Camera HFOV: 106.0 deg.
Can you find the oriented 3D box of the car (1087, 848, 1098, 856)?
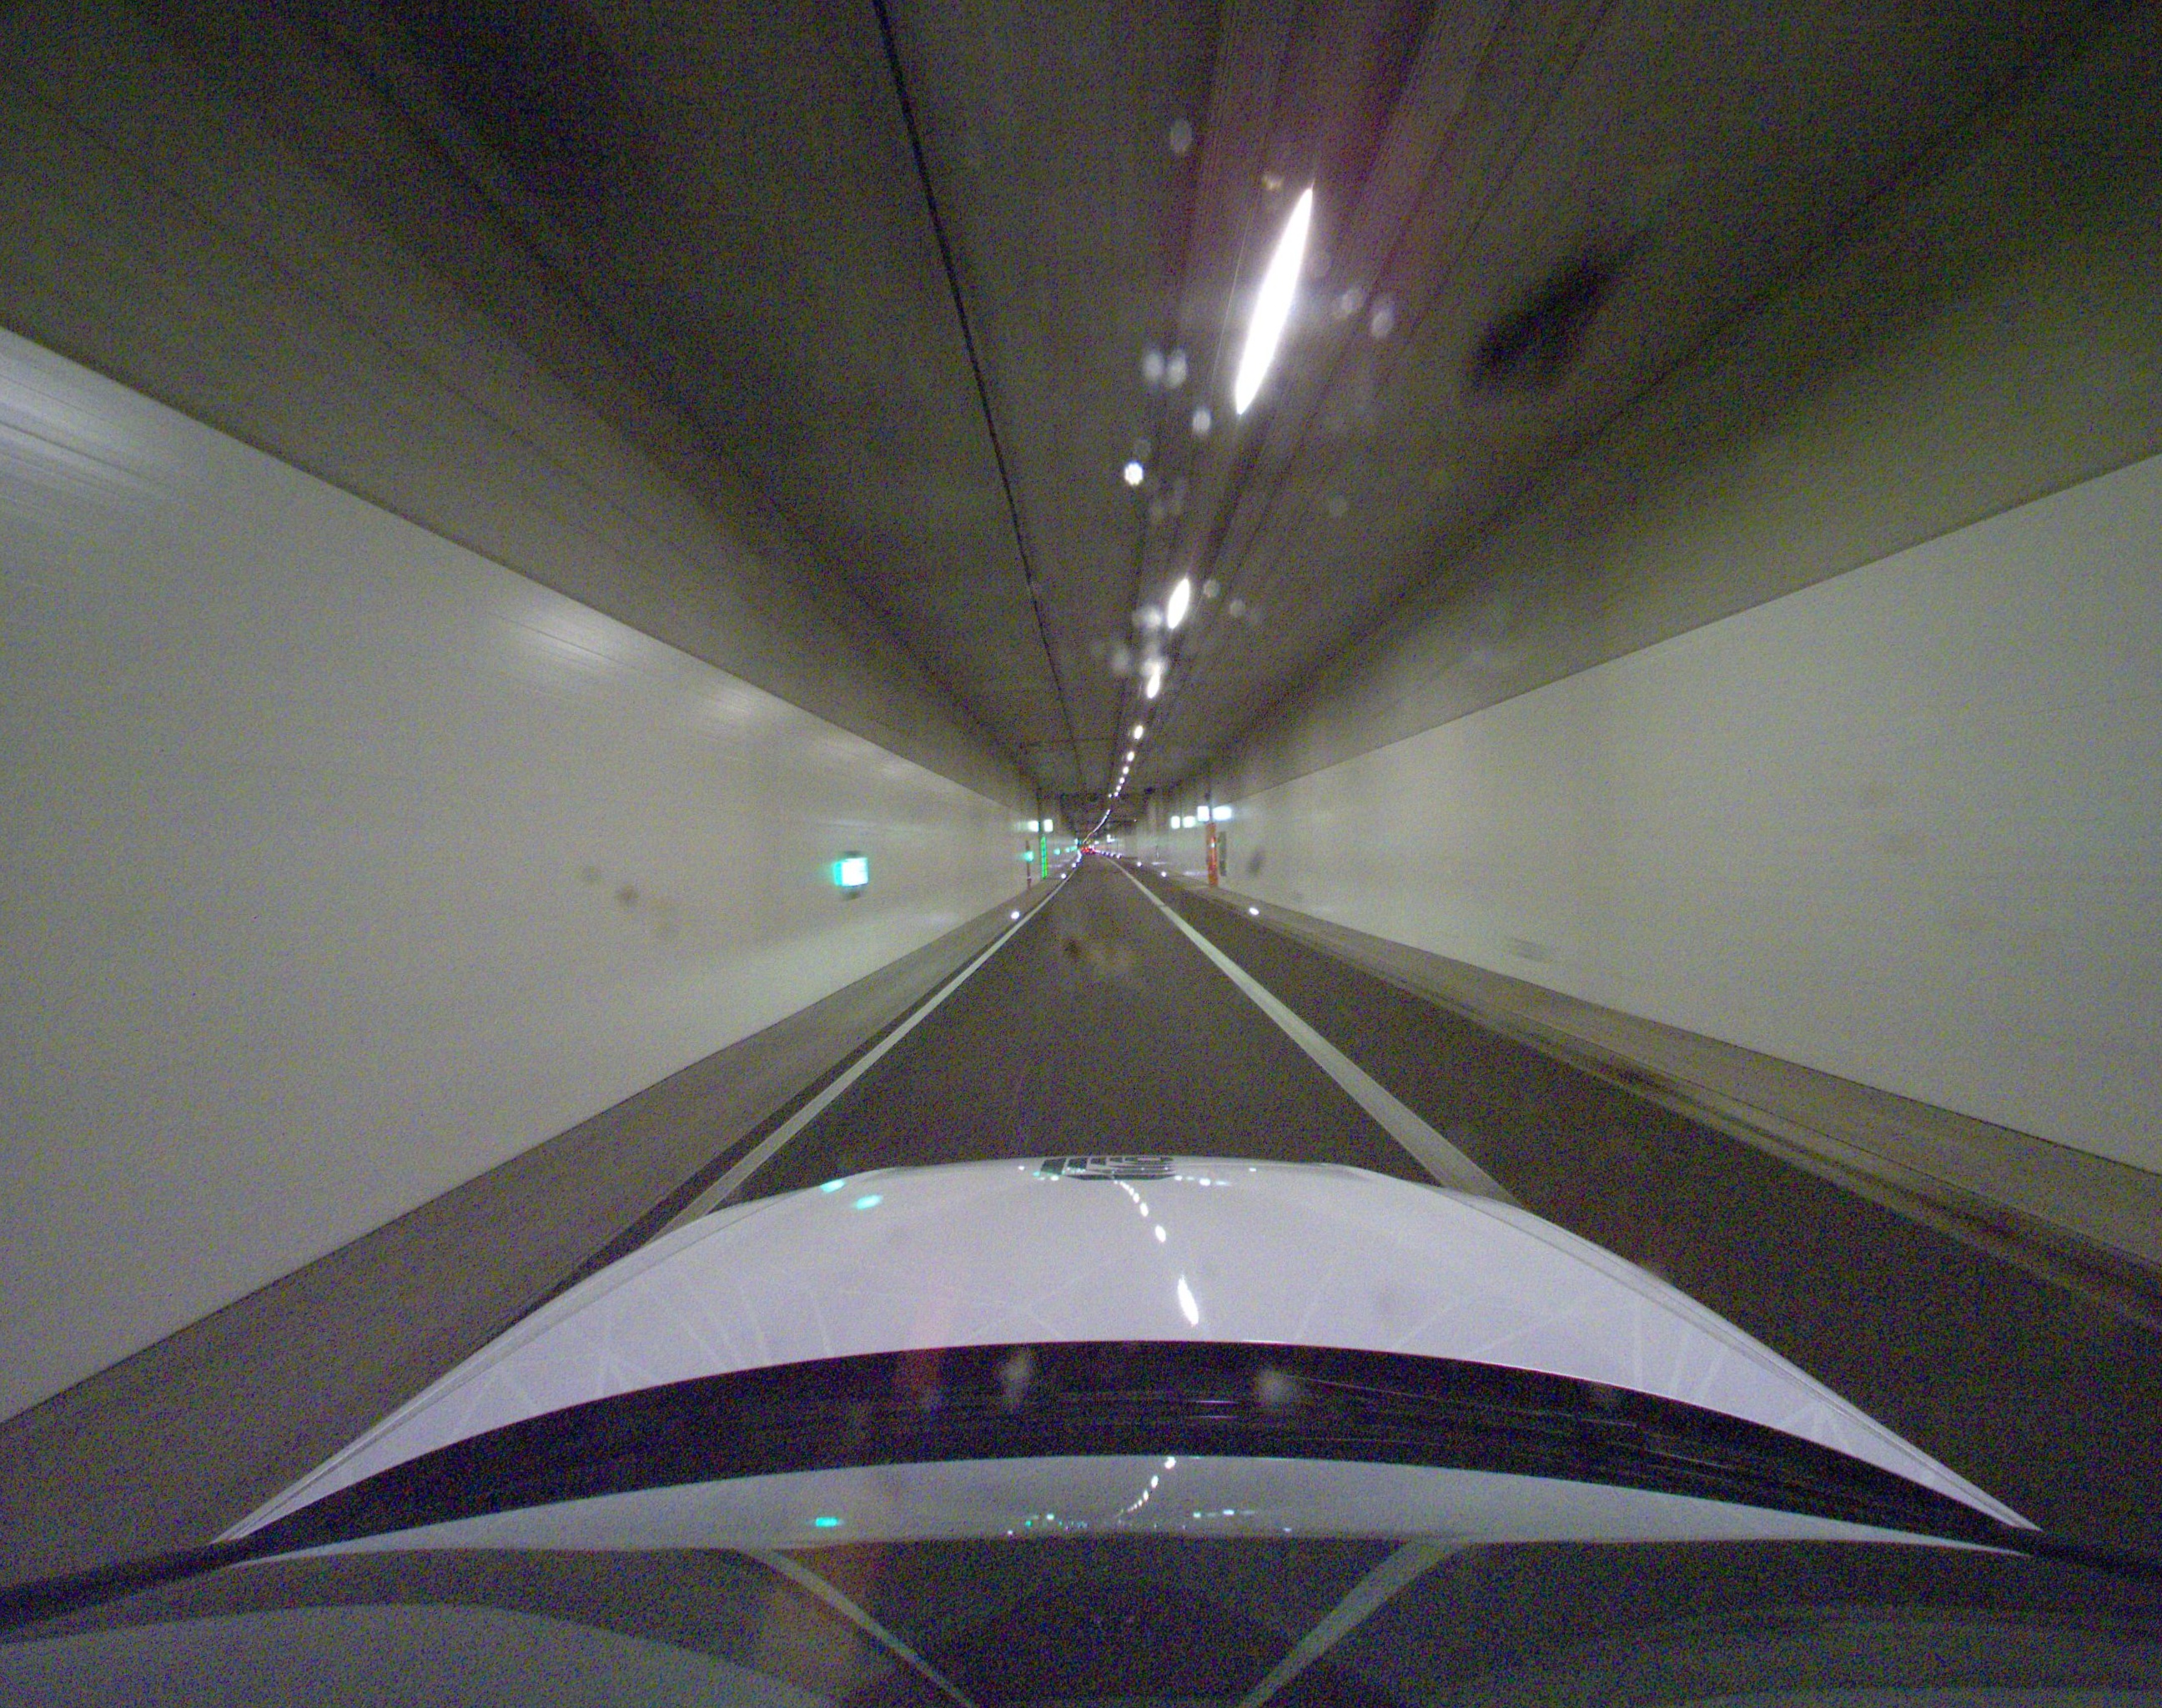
[{"bbox_3d":[2.132,-0.404,156.700,1.988,1.420,3.999,-3,1,-1],"label":"car"}]
